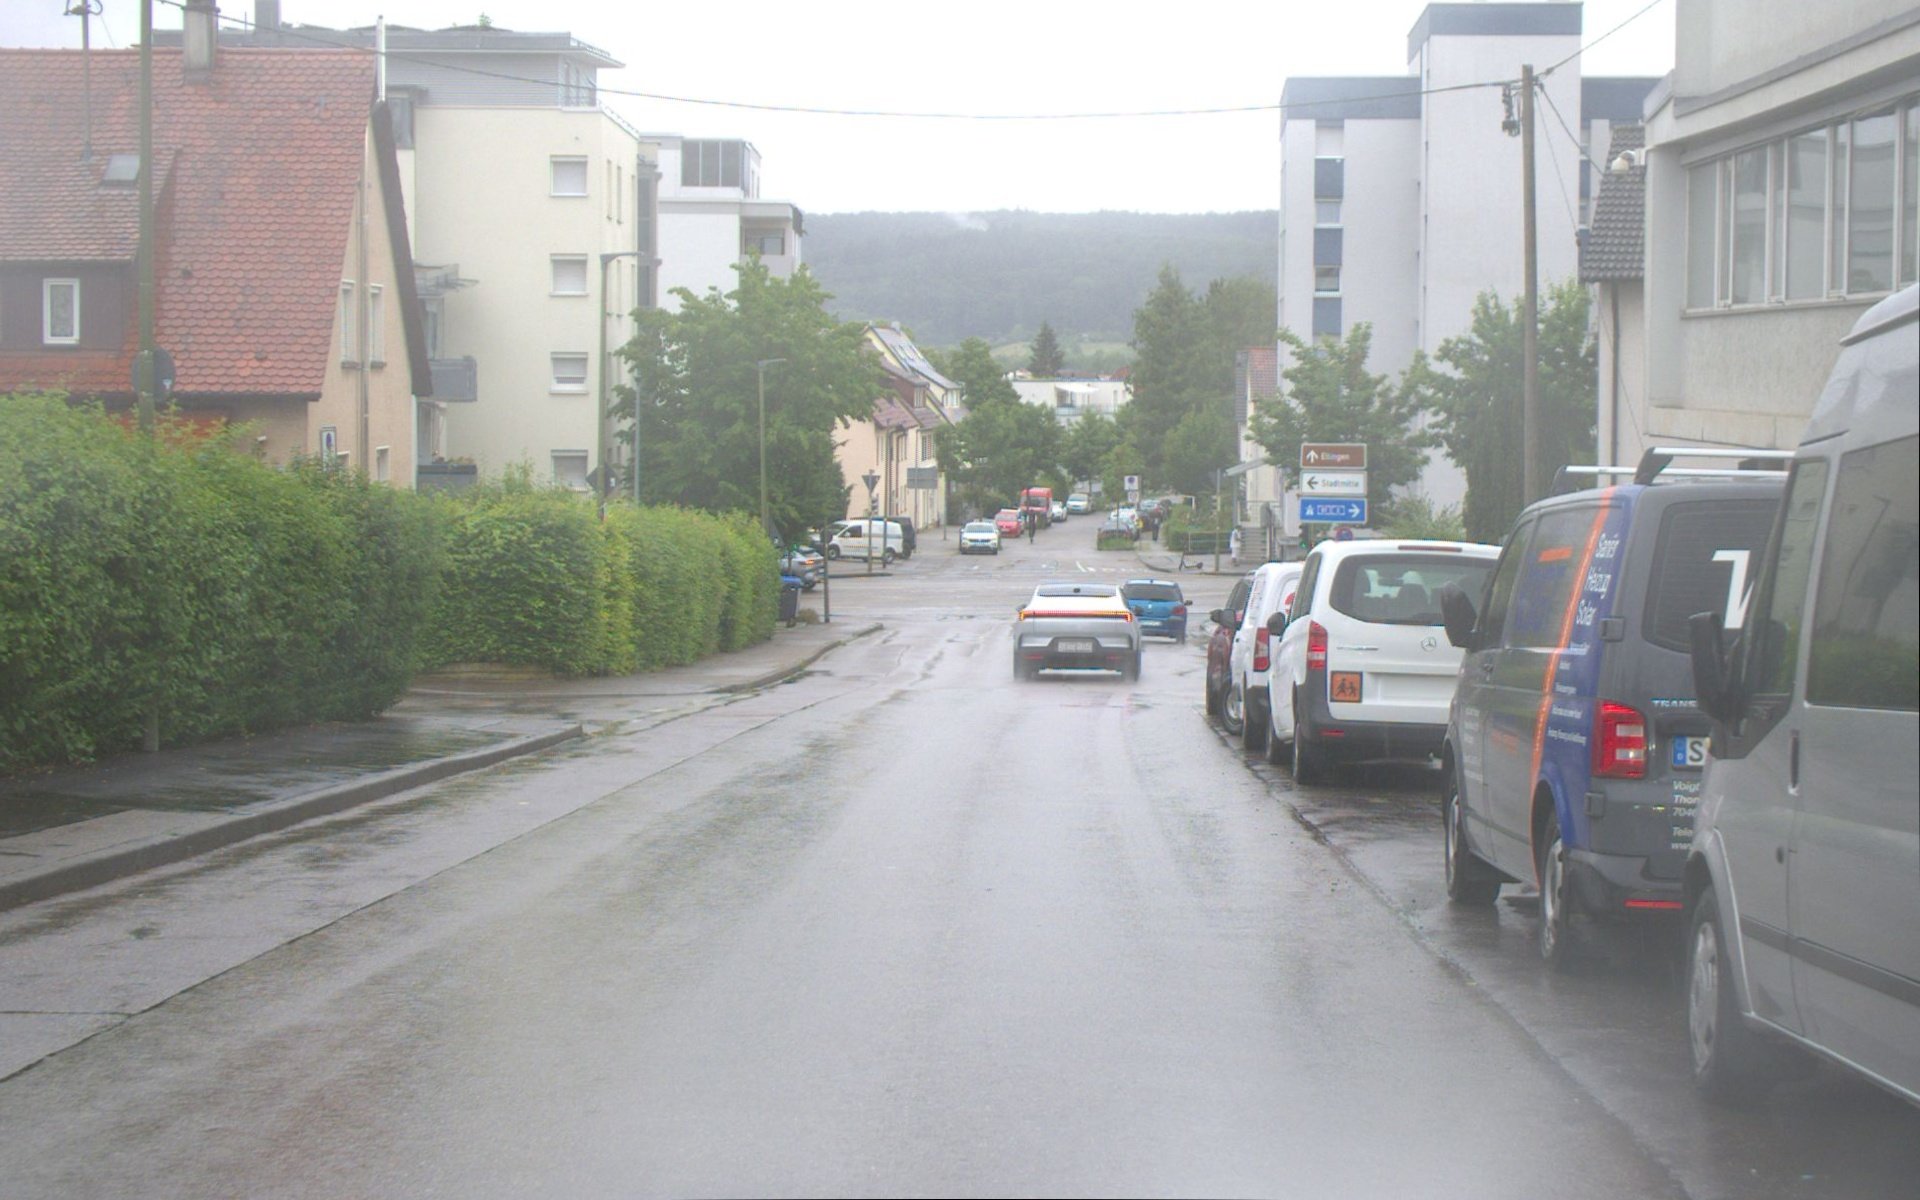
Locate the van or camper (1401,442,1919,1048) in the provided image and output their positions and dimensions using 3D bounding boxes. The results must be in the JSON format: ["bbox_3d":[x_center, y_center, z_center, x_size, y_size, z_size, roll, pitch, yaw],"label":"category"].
[{"bbox_3d":[3.147,0.467,14.579,1.993,2.106,5.202,0,1,1],"label":"van or camper"}]

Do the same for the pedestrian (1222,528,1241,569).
[{"bbox_3d":[11.223,-2.138,142.037,0.647,1.641,0.526,3,1,-4],"label":"pedestrian"}]

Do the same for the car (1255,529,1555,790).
[{"bbox_3d":[3.528,0.421,28.119,1.994,1.928,4.975,0,0,2],"label":"car"}]

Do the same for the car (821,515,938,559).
[{"bbox_3d":[-3.521,-2.771,151.230,4.829,1.829,2.000,-2,2,-36],"label":"car"}]

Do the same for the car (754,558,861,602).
[{"bbox_3d":[-5.679,-0.764,127.808,1.885,1.520,3.998,-2,2,-41],"label":"car"}]

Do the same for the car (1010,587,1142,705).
[{"bbox_3d":[1.830,0.700,55.259,1.993,1.678,4.000,-1,2,0],"label":"car"}]

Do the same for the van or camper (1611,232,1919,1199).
[{"bbox_3d":[3.019,0.331,8.243,1.993,2.235,5.441,0,1,1],"label":"van or camper"}]

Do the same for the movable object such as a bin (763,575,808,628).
[{"bbox_3d":[-4.595,0.022,90.609,1.071,1.343,1.319,2,1,0],"label":"movable object such as a bin"}]

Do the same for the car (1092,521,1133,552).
[{"bbox_3d":[8.158,-3.389,184.032,2.146,1.583,4.128,-1,2,3],"label":"car"}]

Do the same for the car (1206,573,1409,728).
[{"bbox_3d":[3.876,0.517,39.121,1.994,1.639,4.958,0,0,2],"label":"car"}]

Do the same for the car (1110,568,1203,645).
[{"bbox_3d":[4.689,0.127,82.436,1.993,1.678,4.000,-1,2,0],"label":"car"}]

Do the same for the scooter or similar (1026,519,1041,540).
[{"bbox_3d":[4.152,-3.992,194.762,0.757,1.167,1.314,-1,2,4],"label":"scooter or similar"}]

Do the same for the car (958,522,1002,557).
[{"bbox_3d":[0.988,-3.008,170.668,1.994,1.620,4.192,-1,2,3],"label":"car"}]

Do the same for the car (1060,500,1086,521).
[{"bbox_3d":[8.447,-6.710,257.074,1.901,1.553,4.192,-1,2,3],"label":"car"}]

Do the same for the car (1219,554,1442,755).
[{"bbox_3d":[3.567,0.480,33.795,1.878,1.827,4.488,0,0,2],"label":"car"}]

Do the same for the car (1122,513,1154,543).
[{"bbox_3d":[10.656,-4.329,205.828,1.901,1.739,4.192,-1,2,3],"label":"car"}]

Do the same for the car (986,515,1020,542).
[{"bbox_3d":[2.620,-4.340,207.076,1.901,1.553,4.192,-1,2,3],"label":"car"}]

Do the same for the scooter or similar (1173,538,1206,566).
[{"bbox_3d":[9.411,-1.971,140.941,1.268,1.077,0.876,-1,2,-2],"label":"scooter or similar"}]
